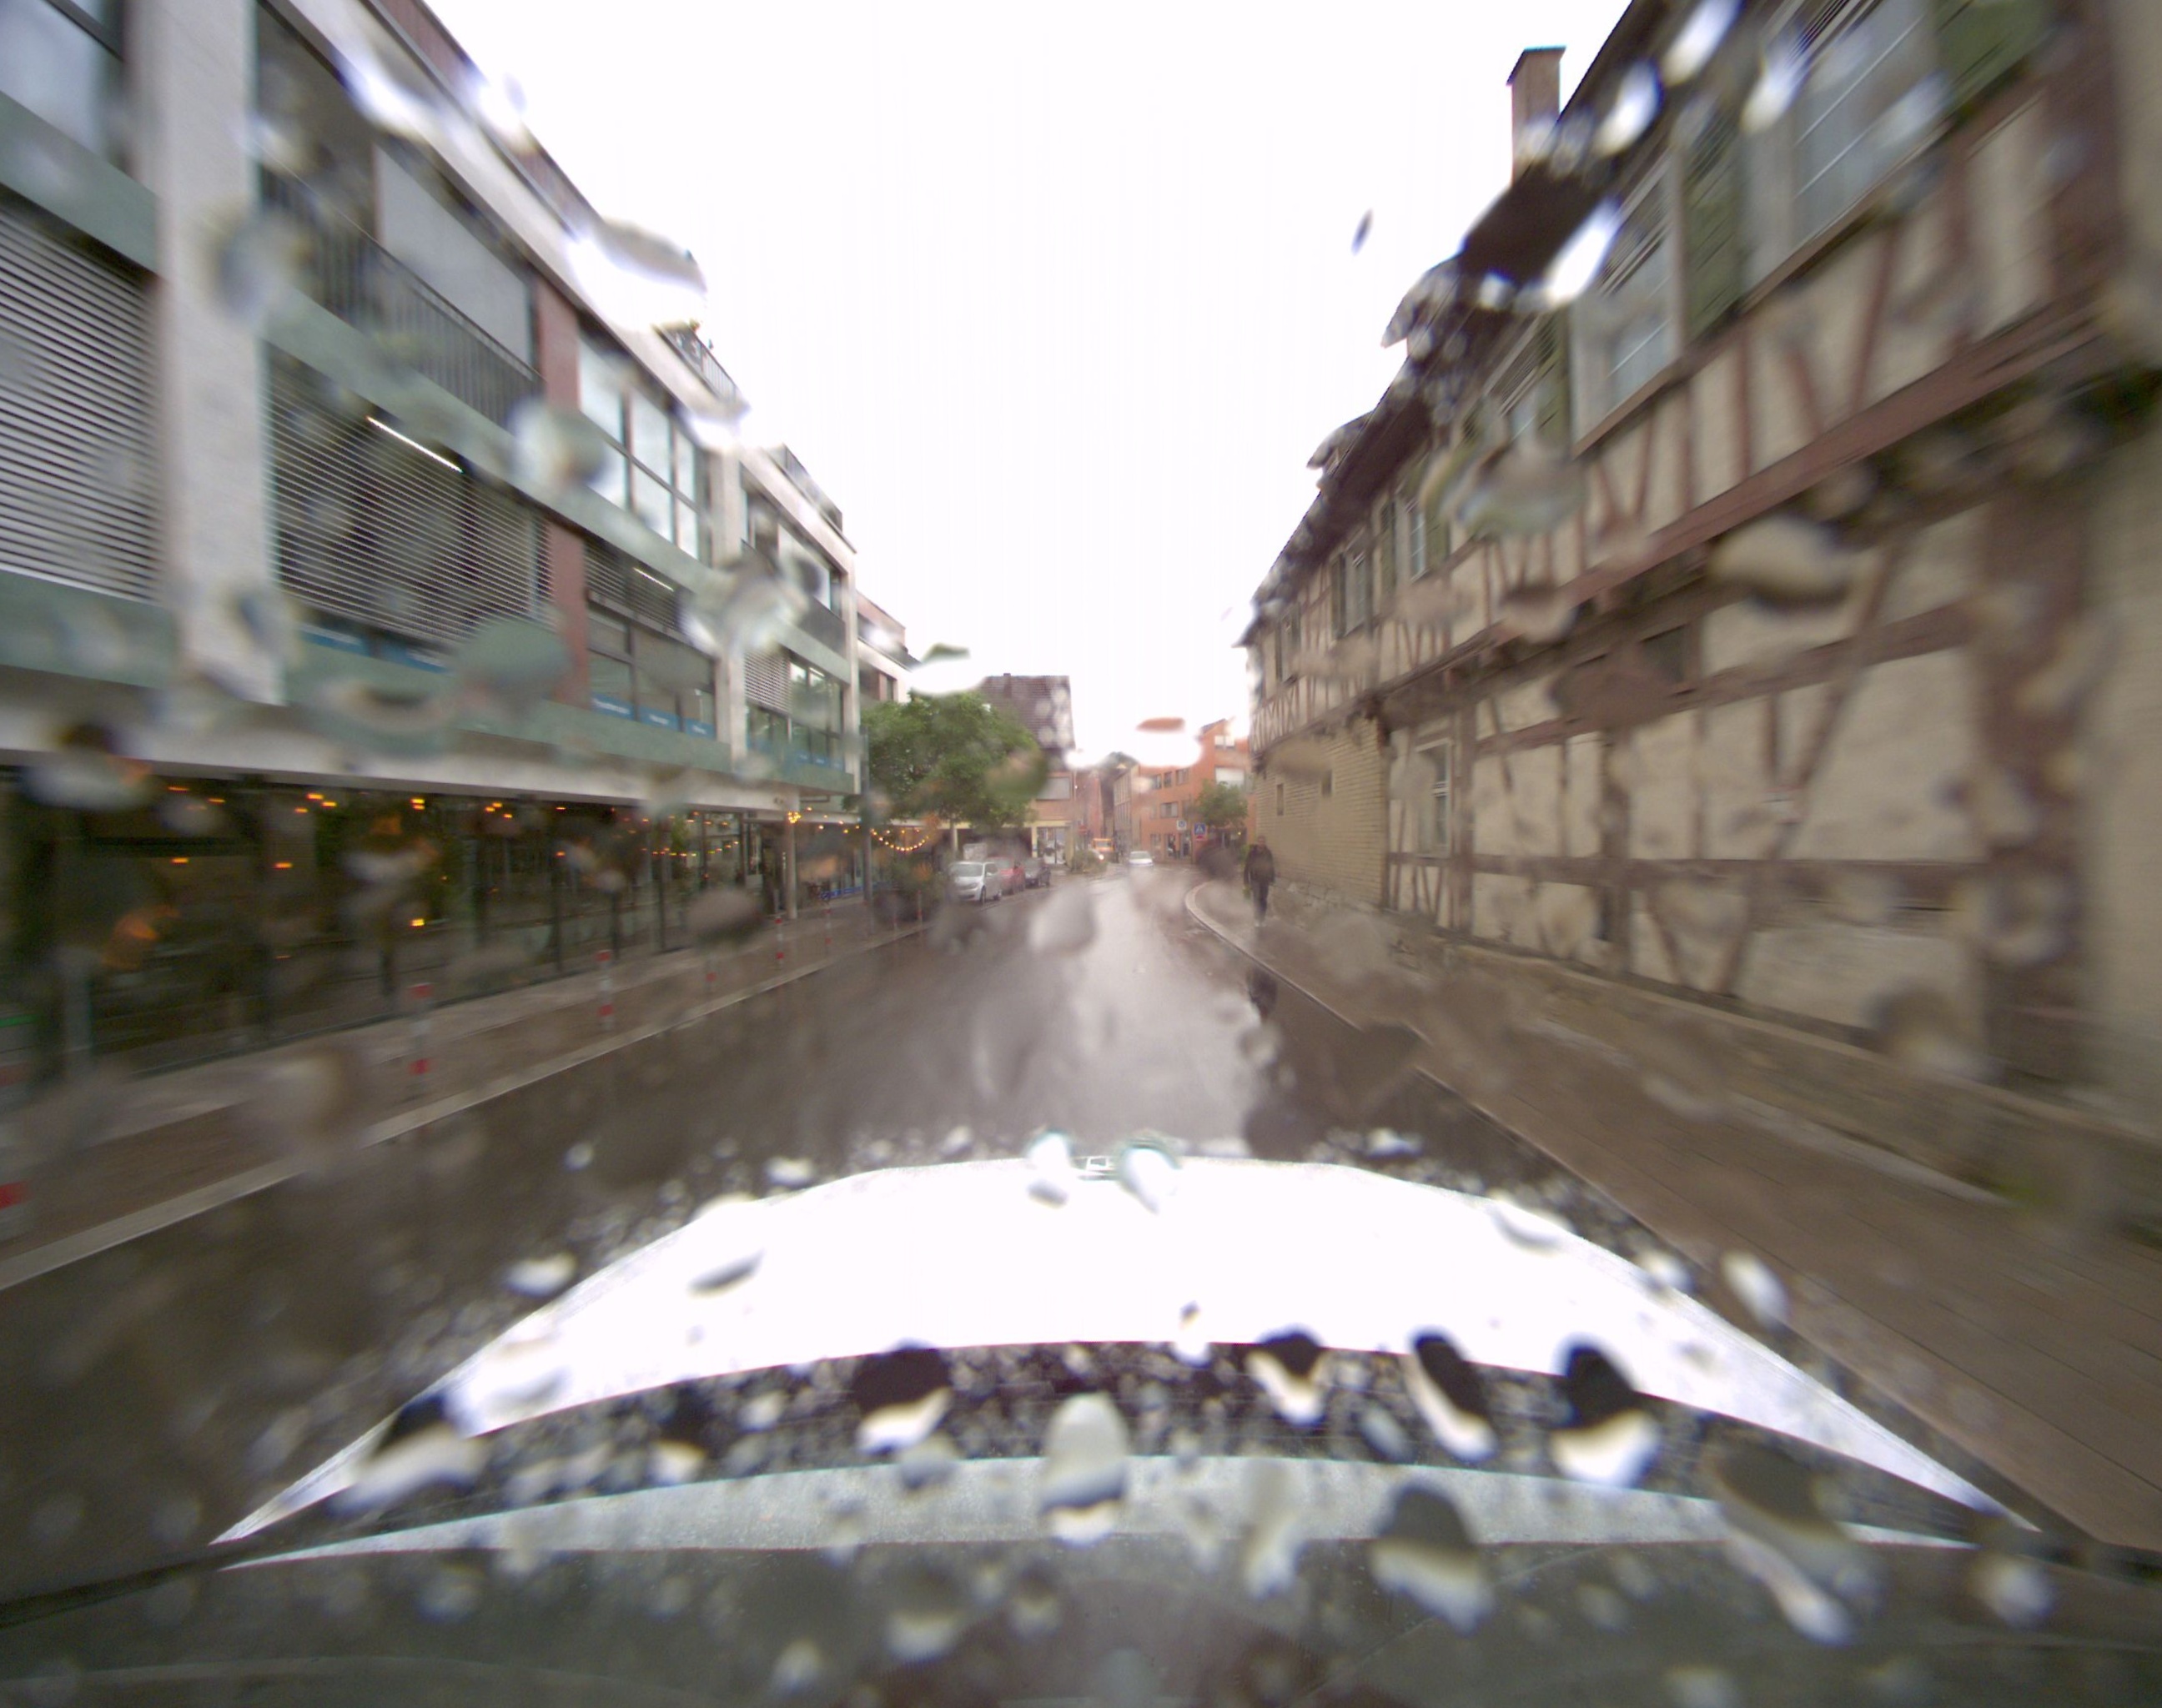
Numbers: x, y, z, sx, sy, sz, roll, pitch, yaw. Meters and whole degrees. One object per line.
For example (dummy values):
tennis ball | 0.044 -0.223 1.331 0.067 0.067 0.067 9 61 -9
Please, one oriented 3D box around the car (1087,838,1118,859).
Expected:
car | 2.307 -0.570 88.229 2.105 2.146 4.847 -4 0 -12

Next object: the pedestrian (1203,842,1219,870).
pedestrian | 9.002 0.129 56.311 0.854 1.914 0.762 -1 0 21

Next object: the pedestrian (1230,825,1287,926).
pedestrian | 3.456 0.409 15.962 0.807 1.885 0.907 -4 0 -1

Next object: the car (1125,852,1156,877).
car | 3.944 0.676 54.443 1.784 1.417 4.030 -4 0 1

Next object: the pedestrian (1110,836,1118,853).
pedestrian | 4.094 -1.162 100.239 0.866 2.013 0.706 -2 1 -7

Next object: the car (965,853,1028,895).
car | -3.481 0.808 34.384 1.778 1.576 4.114 -2 0 6

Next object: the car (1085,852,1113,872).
car | 1.351 0.606 62.394 1.712 1.458 3.902 -1 1 -6

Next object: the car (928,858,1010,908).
car | -3.818 0.950 28.549 1.777 1.498 4.462 -2 0 6

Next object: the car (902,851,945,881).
car | -10.316 0.759 53.727 1.805 1.617 4.004 -2 3 3

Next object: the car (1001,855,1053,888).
car | -2.536 0.804 39.347 1.705 1.458 3.920 -1 1 8

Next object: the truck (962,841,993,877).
truck | -6.944 0.279 54.881 1.592 2.062 3.192 -4 5 -2

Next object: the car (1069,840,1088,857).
car | -0.396 -0.756 111.974 2.100 2.146 4.859 -4 0 -5

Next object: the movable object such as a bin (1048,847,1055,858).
movable object such as a bin | -3.827 -0.218 105.971 0.834 1.382 0.851 -2 1 -9
